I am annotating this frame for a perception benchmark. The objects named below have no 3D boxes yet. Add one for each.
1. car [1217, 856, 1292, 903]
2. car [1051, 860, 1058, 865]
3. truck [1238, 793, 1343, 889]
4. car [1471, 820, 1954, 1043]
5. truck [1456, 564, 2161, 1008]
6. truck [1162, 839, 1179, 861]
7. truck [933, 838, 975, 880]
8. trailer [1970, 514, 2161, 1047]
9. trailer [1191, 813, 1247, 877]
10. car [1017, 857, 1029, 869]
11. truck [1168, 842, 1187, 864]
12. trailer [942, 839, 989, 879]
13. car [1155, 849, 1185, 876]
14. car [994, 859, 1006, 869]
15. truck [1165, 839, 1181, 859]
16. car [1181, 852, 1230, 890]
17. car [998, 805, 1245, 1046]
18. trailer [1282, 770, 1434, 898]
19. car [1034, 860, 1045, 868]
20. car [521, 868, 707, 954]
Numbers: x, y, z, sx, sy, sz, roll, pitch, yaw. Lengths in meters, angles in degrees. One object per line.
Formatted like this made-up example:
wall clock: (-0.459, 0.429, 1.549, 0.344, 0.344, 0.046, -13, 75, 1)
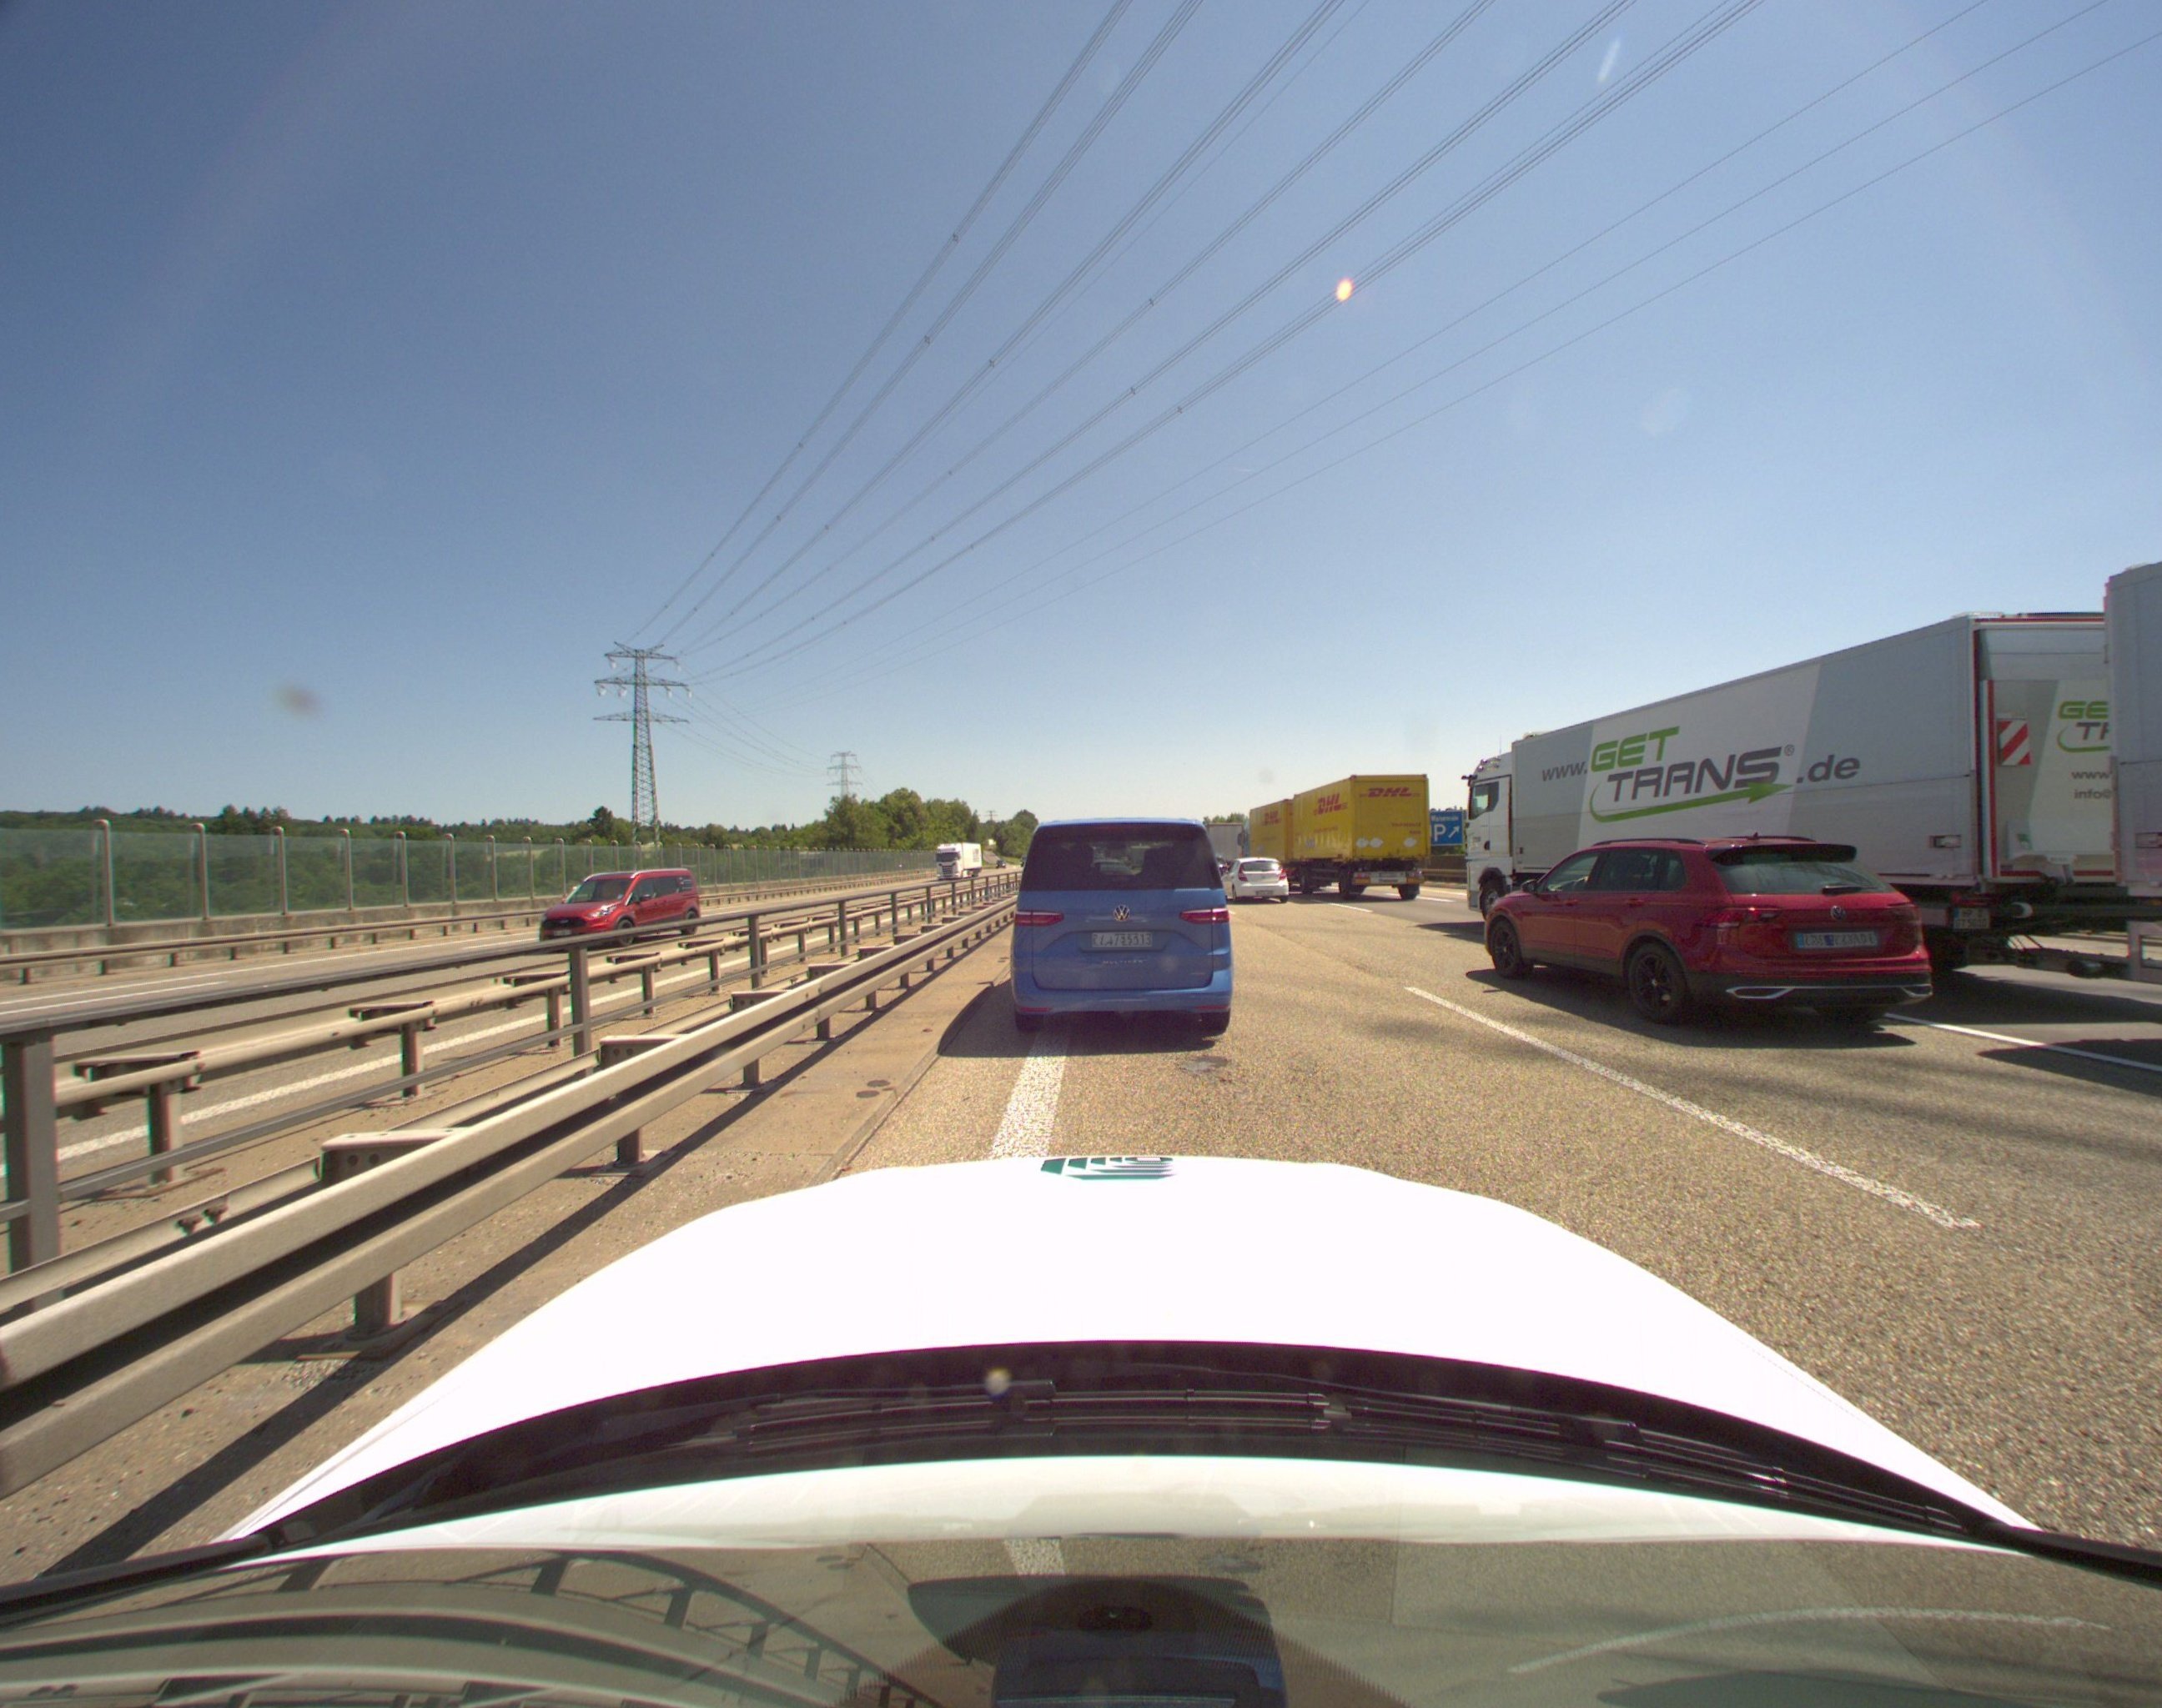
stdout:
car: (5.825, 0.828, 27.763, 1.808, 1.470, 3.933, 0, -1, 2)
car: (-8.264, 2.588, 256.355, 1.986, 1.544, 4.387, -3, -1, 2)
truck: (9.959, -0.497, 39.911, 2.690, 4.088, 9.940, 0, -1, 1)
car: (5.828, 0.623, 8.347, 1.702, 1.679, 4.286, -1, -1, 2)
truck: (9.535, -0.533, 12.519, 2.841, 3.934, 10.612, 0, -1, 1)
truck: (11.078, -0.474, 100.886, 1.735, 2.549, 4.212, 0, -1, 2)
truck: (-13.871, 0.570, 89.607, 2.917, 4.293, 6.862, -4, -1, 3)
trailer: (9.261, -0.584, 3.091, 2.888, 3.891, 8.216, 0, -1, 1)
trailer: (10.798, -0.582, 64.914, 3.014, 4.611, 10.929, 0, -1, 2)
car: (-12.775, 1.945, 178.995, 1.987, 2.582, 6.650, -4, -1, 1)
truck: (10.891, -0.091, 92.414, 1.791, 2.449, 4.506, 0, -1, 2)
trailer: (-13.546, 0.646, 96.783, 2.894, 4.307, 13.668, -3, -1, 2)
car: (6.728, 0.645, 62.151, 1.955, 1.936, 3.933, 0, -1, 2)
car: (-16.881, 2.176, 170.193, 1.950, 1.905, 4.950, -3, -1, 0)
truck: (12.010, -0.625, 106.387, 1.790, 2.596, 4.307, 0, -1, 2)
car: (5.809, 0.784, 38.386, 1.808, 1.679, 3.933, 0, -1, 1)
car: (0.374, 0.589, 8.387, 1.923, 1.874, 4.001, 0, -1, 2)
trailer: (9.933, -0.580, 30.456, 2.673, 4.088, 8.980, 0, -1, 0)
car: (-8.459, 1.960, 166.101, 1.765, 1.491, 4.607, -2, 0, 2)
car: (-11.478, 1.304, 20.488, 1.833, 1.822, 4.748, -2, -1, 1)
